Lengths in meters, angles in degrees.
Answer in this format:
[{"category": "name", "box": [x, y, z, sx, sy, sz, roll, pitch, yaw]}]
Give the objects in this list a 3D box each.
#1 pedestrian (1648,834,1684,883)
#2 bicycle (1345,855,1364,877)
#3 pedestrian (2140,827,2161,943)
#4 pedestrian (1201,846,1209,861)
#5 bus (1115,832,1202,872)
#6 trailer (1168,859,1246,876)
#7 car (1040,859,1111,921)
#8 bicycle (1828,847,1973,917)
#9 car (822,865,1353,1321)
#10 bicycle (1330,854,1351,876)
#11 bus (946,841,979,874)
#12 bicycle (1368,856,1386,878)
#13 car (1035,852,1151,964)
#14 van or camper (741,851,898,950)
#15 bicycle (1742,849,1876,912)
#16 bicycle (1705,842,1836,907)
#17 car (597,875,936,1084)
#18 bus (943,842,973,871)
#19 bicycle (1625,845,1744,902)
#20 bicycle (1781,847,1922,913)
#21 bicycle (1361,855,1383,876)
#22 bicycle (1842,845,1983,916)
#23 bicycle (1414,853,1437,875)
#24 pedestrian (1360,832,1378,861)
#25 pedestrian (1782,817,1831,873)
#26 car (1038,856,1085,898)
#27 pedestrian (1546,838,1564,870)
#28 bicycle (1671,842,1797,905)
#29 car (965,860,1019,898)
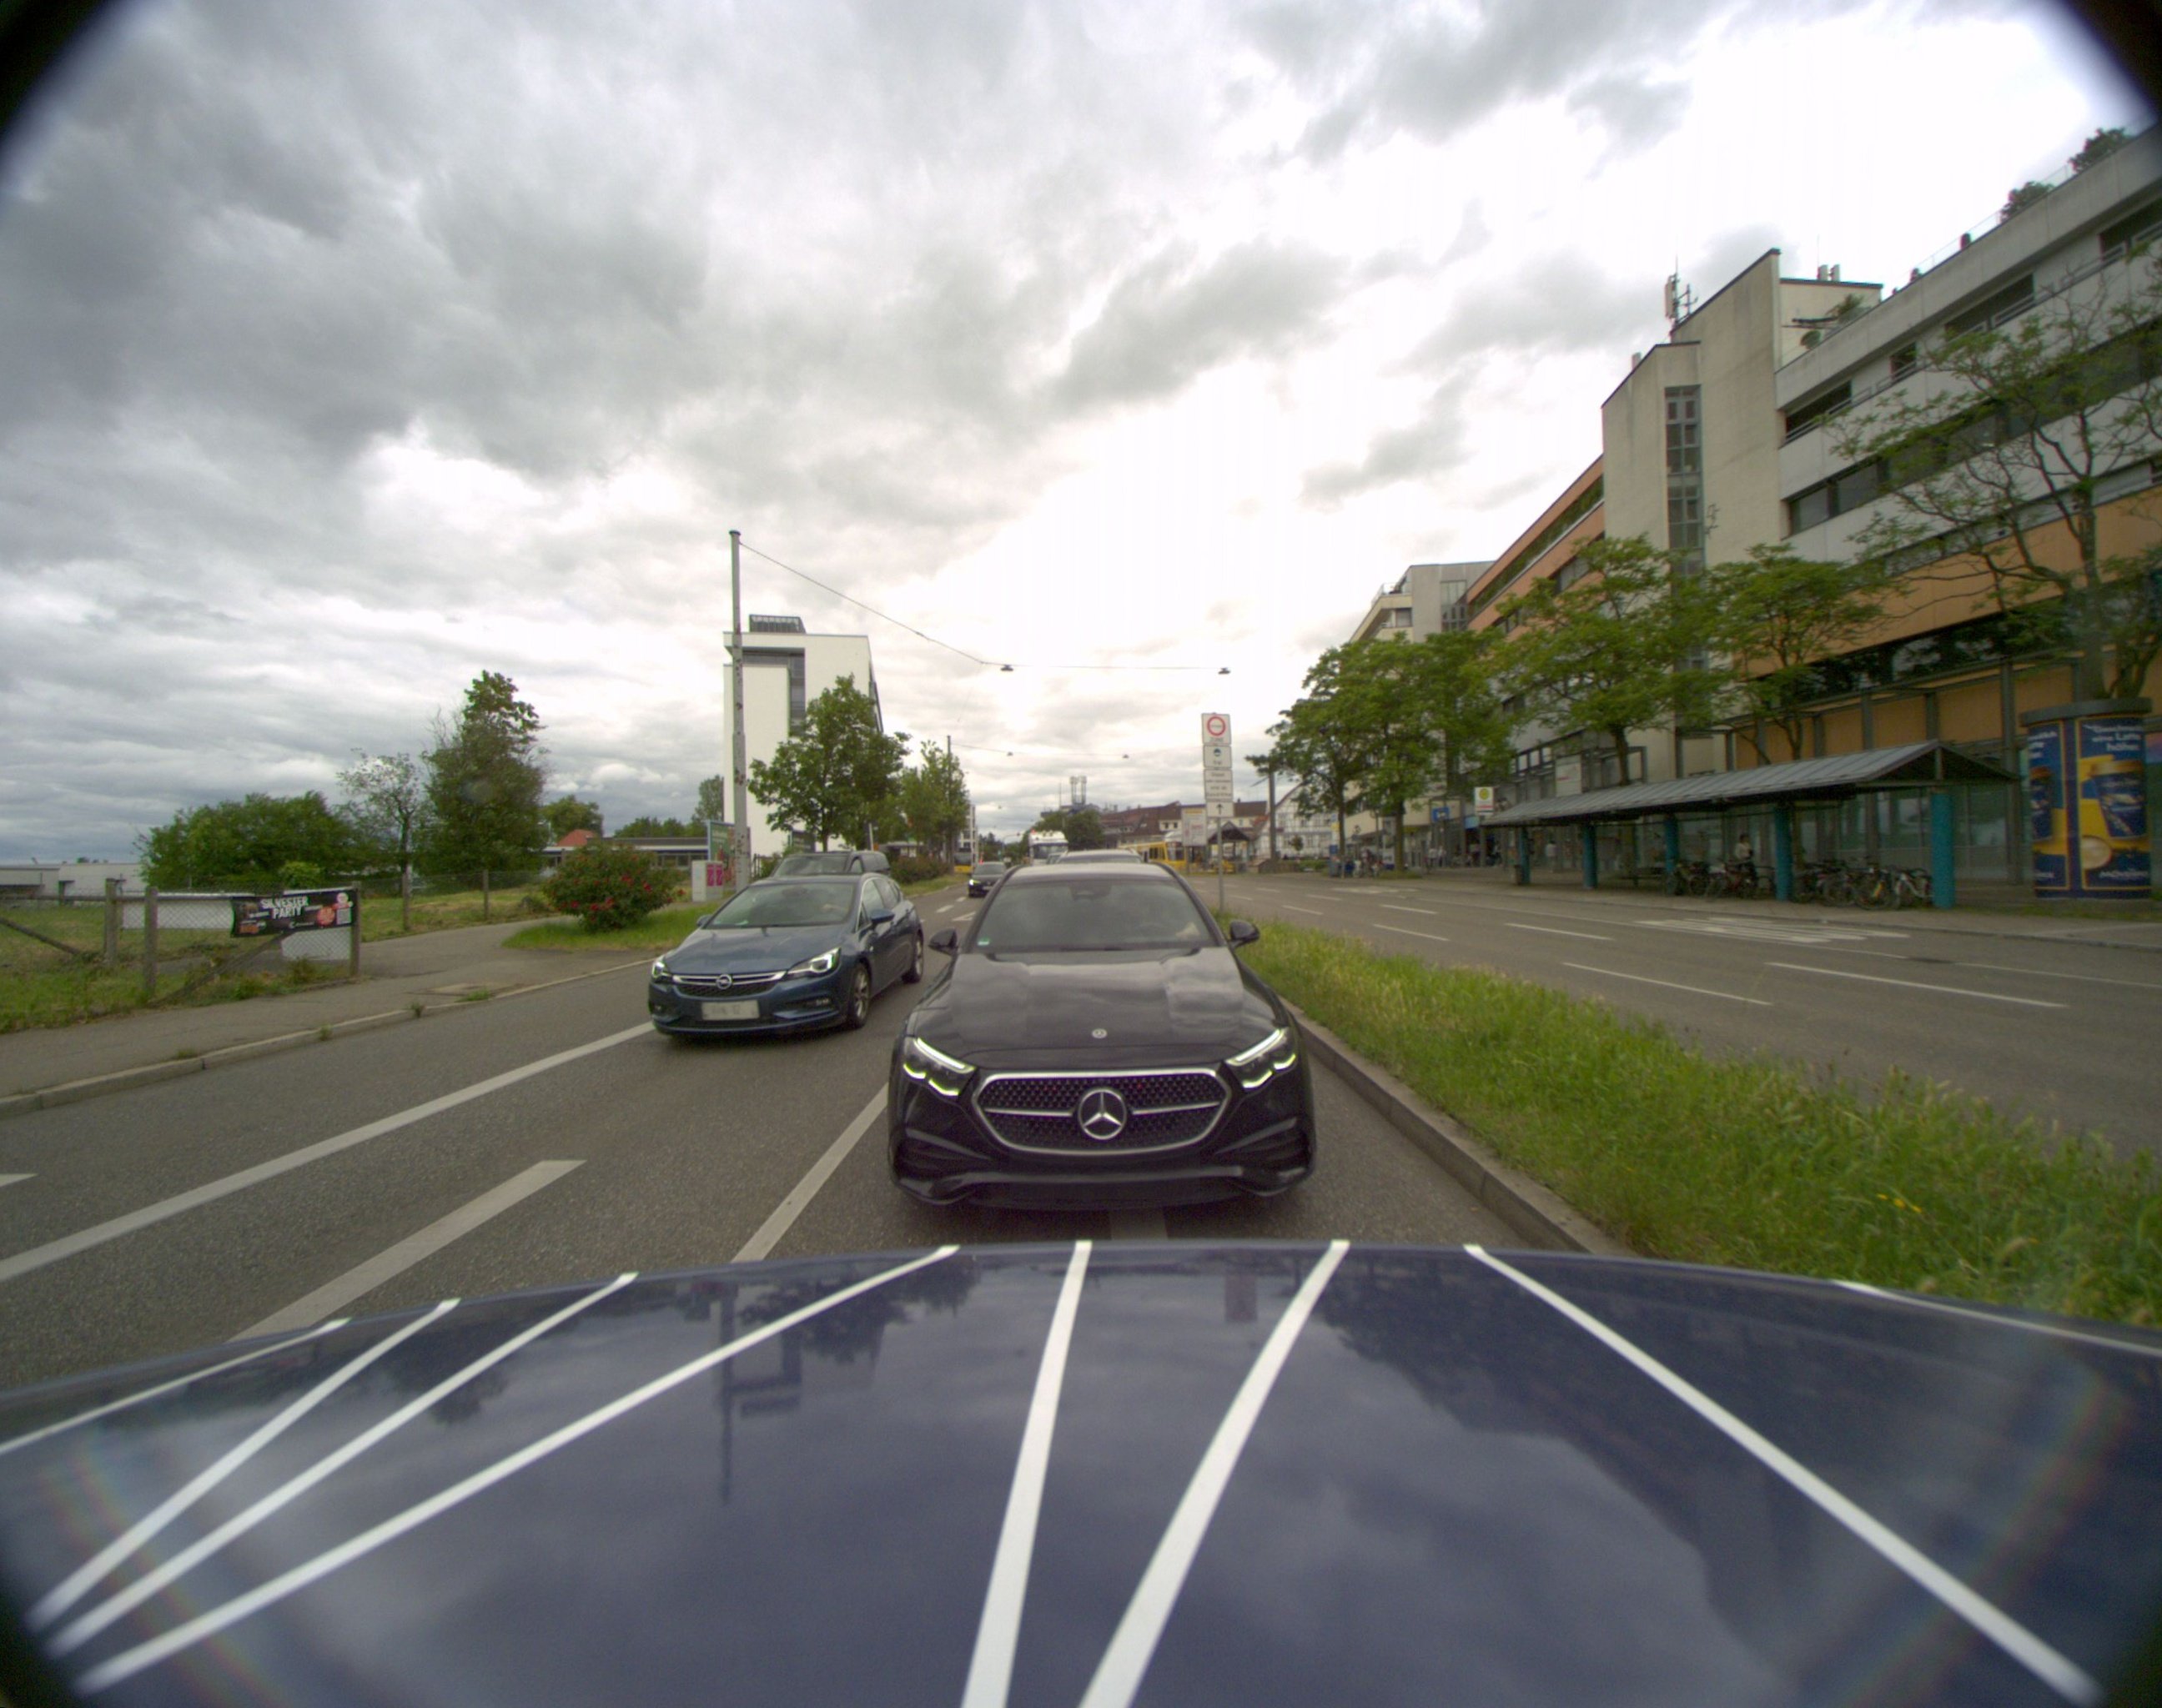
[{"category": "pedestrian", "box": [21.471, 0.160, 27.908, 0.774, 1.706, 0.787, -3, 1, 17]}, {"category": "bicycle", "box": [15.339, 0.667, 42.616, 0.603, 1.154, 1.969, -1, -1, 32]}, {"category": "pedestrian", "box": [17.283, 0.483, 11.522, 0.705, 1.812, 1.213, -3, 1, -3]}, {"category": "pedestrian", "box": [12.823, -0.016, 78.740, 0.601, 1.564, 0.620, -1, 0, -10]}, {"category": "bus", "box": [8.117, -0.057, 84.549, 3.891, 3.836, 19.323, -1, -1, -12]}, {"category": "trailer", "box": [11.166, 1.217, 68.979, 2.851, 1.325, 12.115, -1, -1, -12]}, {"category": "car", "box": [-0.131, 0.913, 21.138, 1.735, 1.474, 4.369, -2, 0, 0]}, {"category": "bicycle", "box": [18.677, 0.614, 17.322, 2.908, 1.498, 0.700, -1, 0, -8]}, {"category": "car", "box": [-0.033, 0.915, 5.215, 1.873, 1.542, 4.773, -4, -1, -2]}, {"category": "bicycle", "box": [14.796, 0.628, 43.313, 0.603, 1.154, 1.969, -3, -1, 33]}, {"category": "bus", "box": [-12.732, 0.400, 81.175, 2.993, 3.222, 9.856, -1, 0, -12]}, {"category": "bicycle", "box": [16.167, 0.708, 41.525, 0.603, 1.154, 1.693, -1, -1, 31]}, {"category": "car", "box": [0.190, 0.841, 13.934, 1.735, 1.680, 4.369, -2, 0, 0]}, {"category": "van or camper", "box": [-5.667, 0.913, 17.209, 1.809, 1.867, 4.849, -2, 0, 0]}, {"category": "bicycle", "box": [18.325, 0.648, 19.139, 2.908, 1.498, 0.805, -1, 0, -8]}, {"category": "bicycle", "box": [18.176, 0.525, 20.040, 2.908, 1.498, 0.811, -4, 0, -7]}, {"category": "car", "box": [-2.872, 1.039, 8.110, 1.735, 1.474, 4.369, -2, 0, 0]}, {"category": "bus", "box": [-14.666, 0.381, 90.297, 3.047, 3.216, 9.329, -1, -1, -12]}, {"category": "bicycle", "box": [17.863, 0.557, 22.515, 2.908, 1.498, 0.972, -3, 0, -8]}, {"category": "bicycle", "box": [18.472, 0.611, 18.230, 2.908, 1.498, 0.778, -1, 0, -8]}, {"category": "bicycle", "box": [16.449, 0.652, 42.965, 0.604, 1.154, 1.966, -1, -1, 4]}, {"category": "bicycle", "box": [18.713, 0.582, 17.104, 2.908, 1.498, 0.598, -1, 0, -8]}, {"category": "bicycle", "box": [19.173, 0.553, 42.266, 0.672, 1.154, 2.023, -1, -1, 39]}, {"category": "pedestrian", "box": [18.867, -0.460, 49.782, 0.747, 1.866, 0.873, -1, 0, -8]}, {"category": "pedestrian", "box": [26.705, -0.324, 27.979, 0.898, 2.002, 0.934, -1, 1, -4]}, {"category": "car", "box": [-0.733, 0.874, 31.216, 1.735, 1.544, 4.369, -2, 0, 0]}, {"category": "pedestrian", "box": [23.972, 0.005, 38.427, 0.633, 1.591, 0.624, -3, 1, 25]}, {"category": "bicycle", "box": [18.047, 0.533, 21.031, 2.908, 1.498, 0.891, -4, 1, -8]}, {"category": "car", "box": [-3.777, 1.027, 32.947, 1.735, 1.474, 4.369, -2, 0, 0]}]
